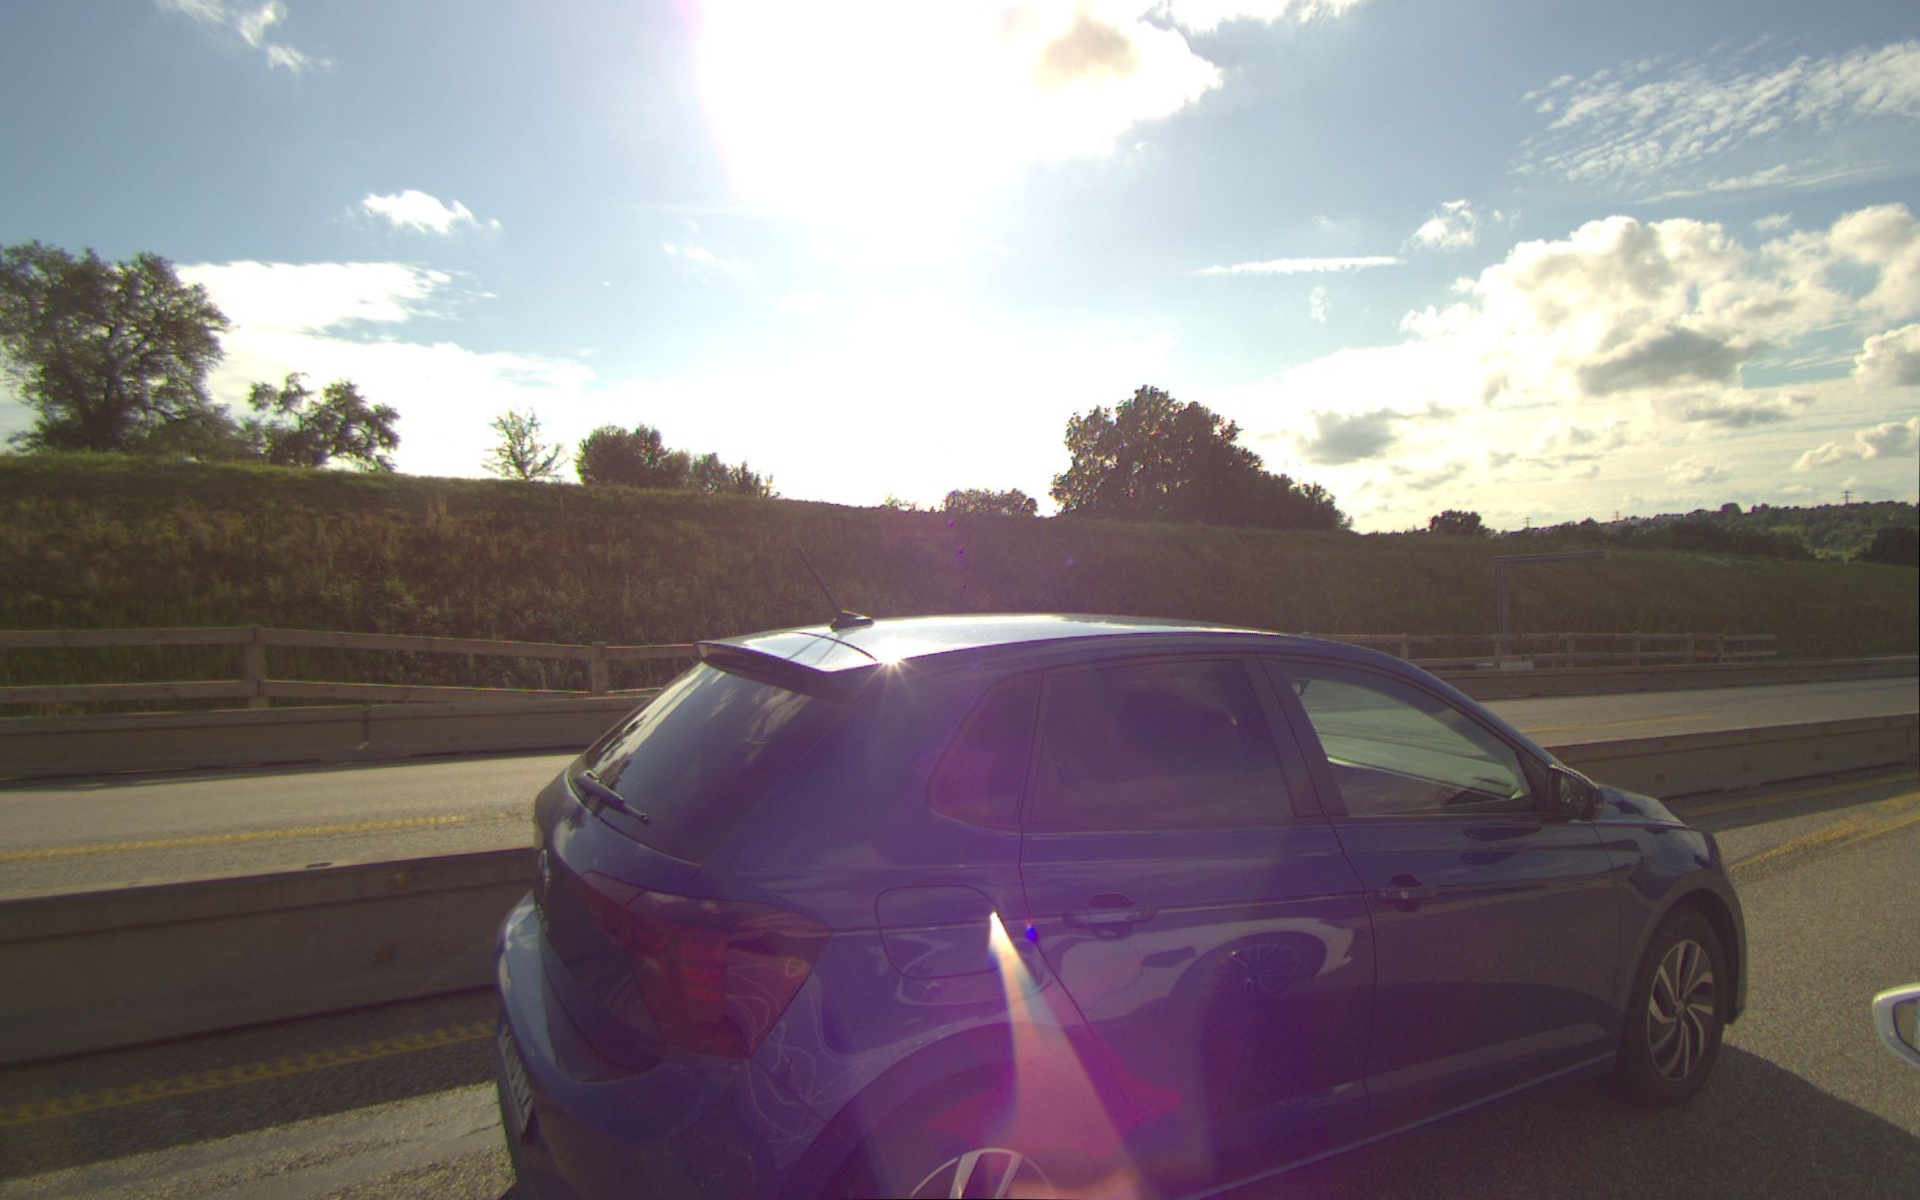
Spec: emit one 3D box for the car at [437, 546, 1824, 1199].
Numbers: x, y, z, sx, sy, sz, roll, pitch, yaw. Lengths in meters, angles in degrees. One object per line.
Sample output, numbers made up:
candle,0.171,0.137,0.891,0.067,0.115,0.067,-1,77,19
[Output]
car,0.677,0.722,3.044,3.952,1.528,1.707,1,0,-30
